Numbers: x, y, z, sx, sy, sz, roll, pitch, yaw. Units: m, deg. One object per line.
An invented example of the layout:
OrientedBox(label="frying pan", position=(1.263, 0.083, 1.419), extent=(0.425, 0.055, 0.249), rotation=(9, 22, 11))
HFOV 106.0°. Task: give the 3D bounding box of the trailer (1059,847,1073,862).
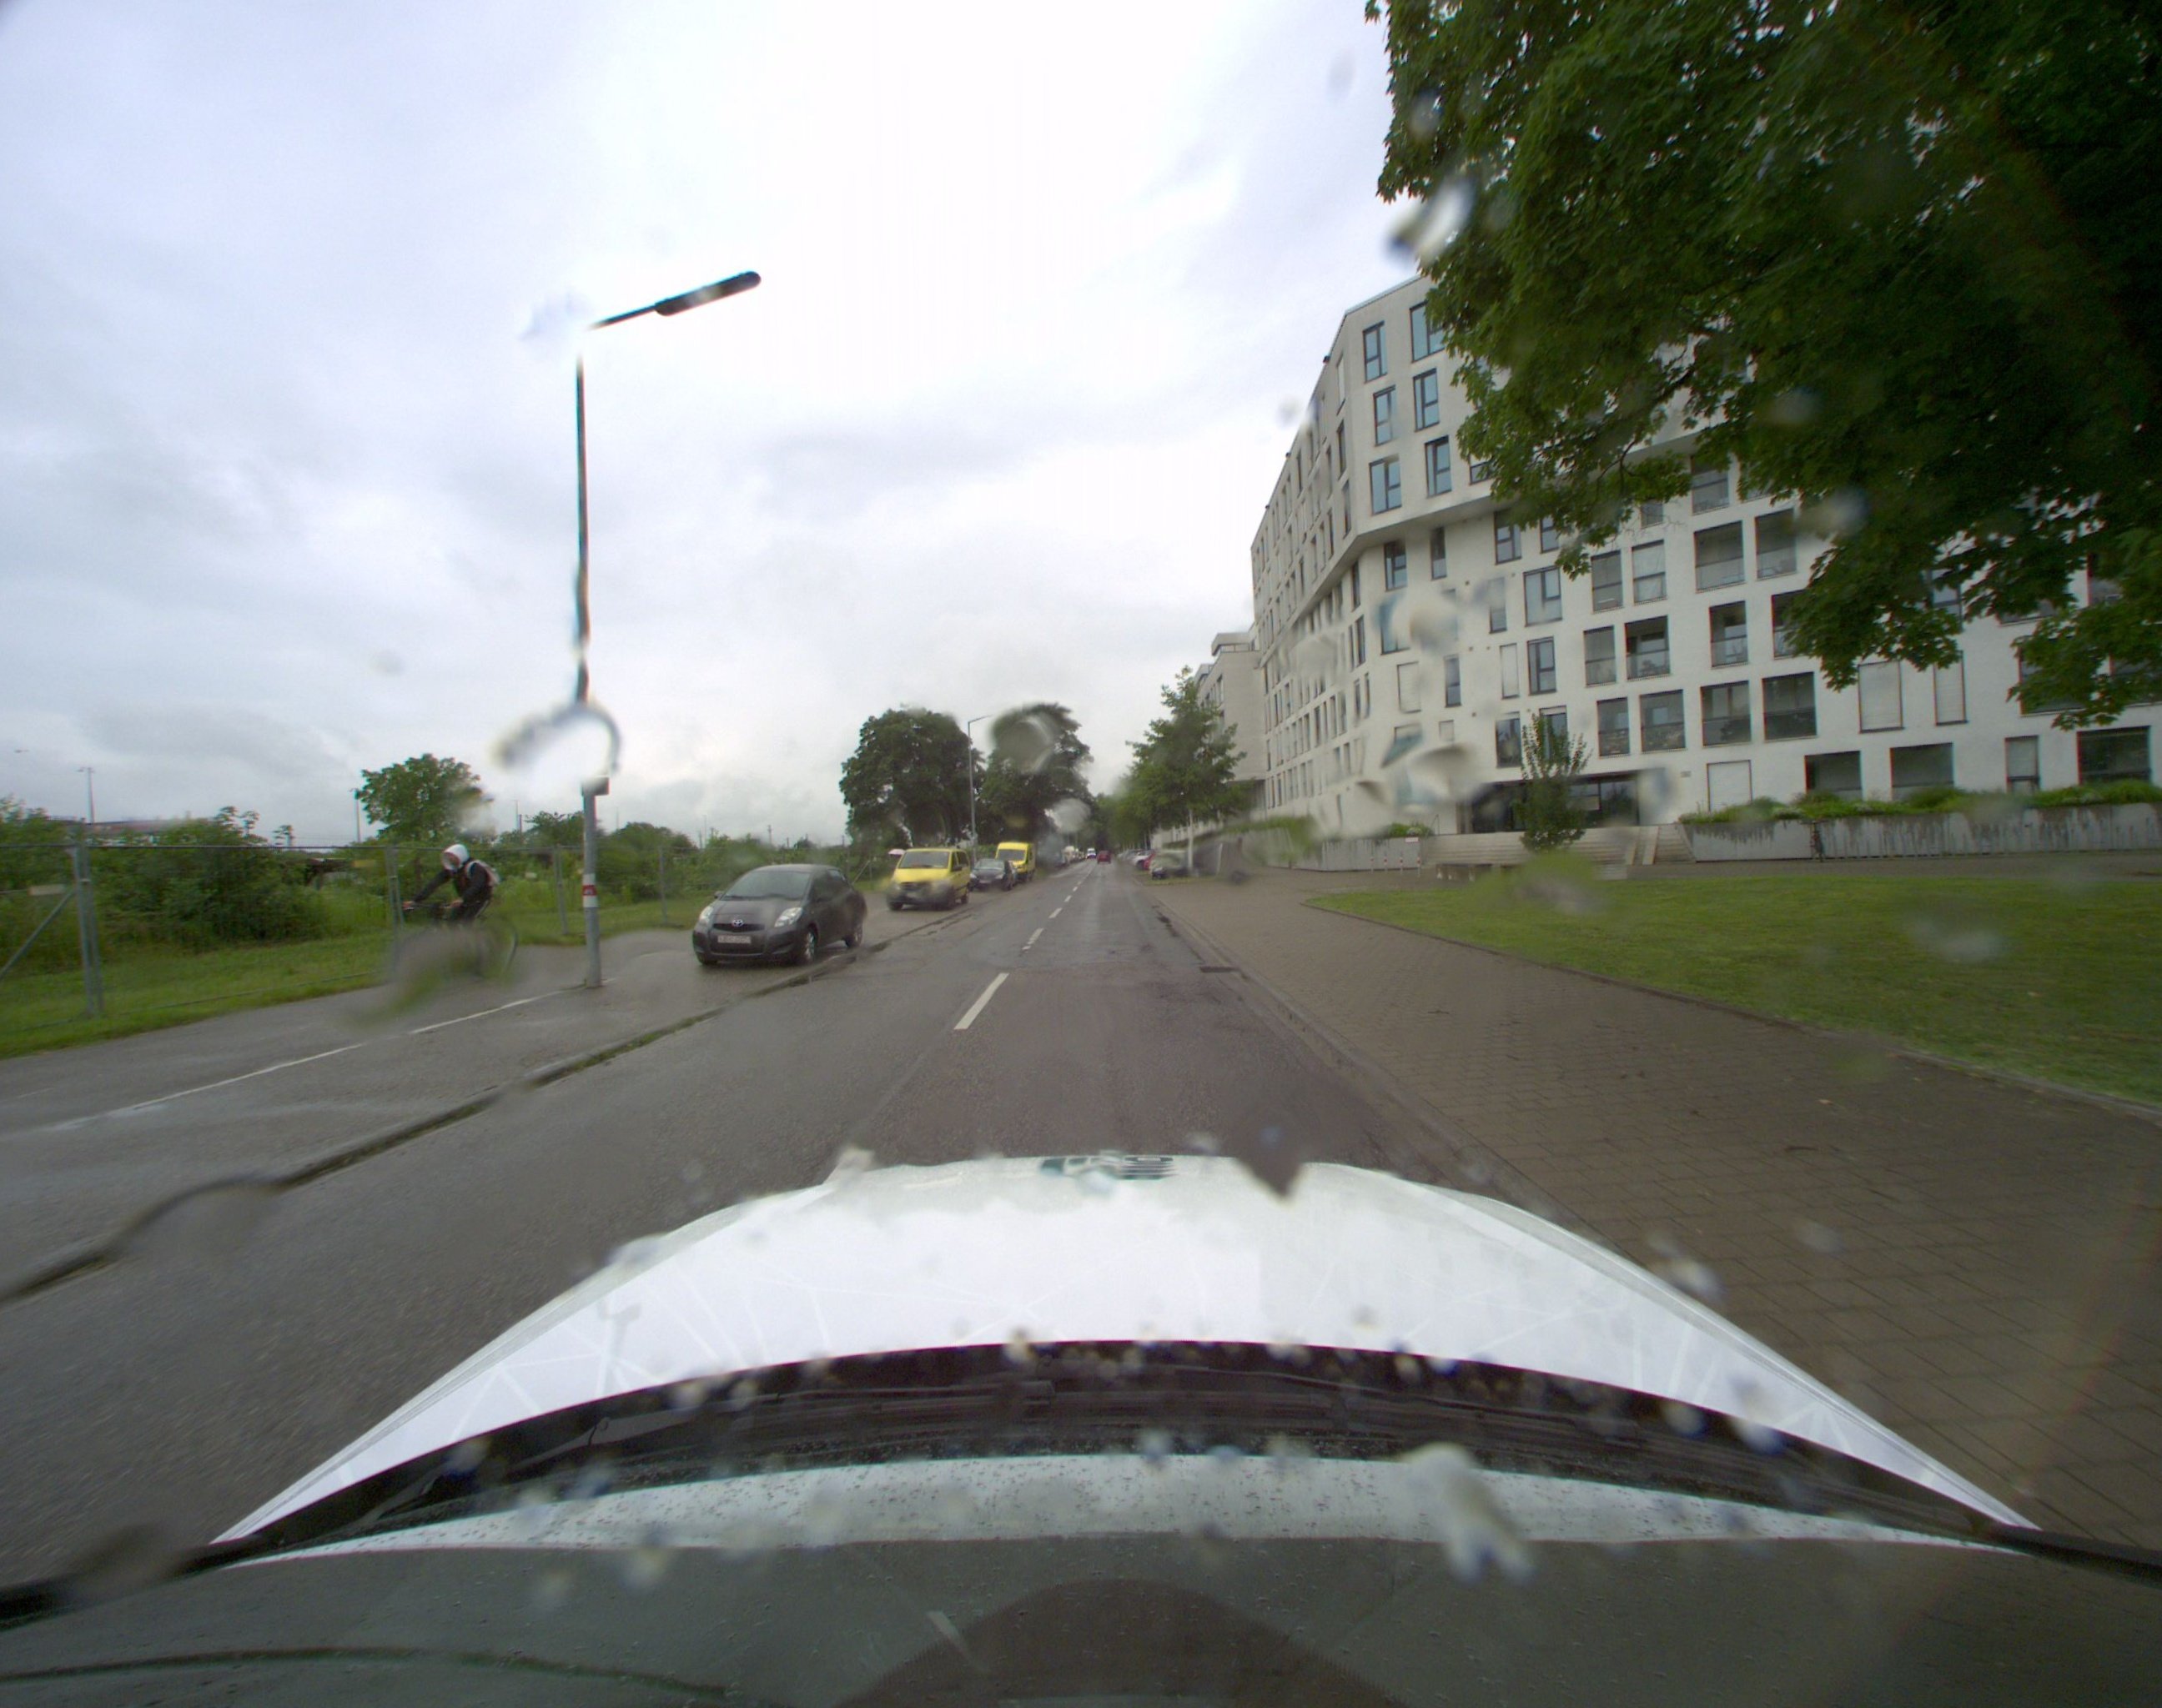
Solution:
OrientedBox(label="trailer", position=(-2.234, 0.012, 125.020), extent=(2.052, 2.218, 5.794), rotation=(-1, 0, 0))

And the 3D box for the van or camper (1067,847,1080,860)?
OrientedBox(label="van or camper", position=(-1.344, -0.068, 151.662), extent=(2.181, 2.461, 6.380), rotation=(-1, 0, 2))

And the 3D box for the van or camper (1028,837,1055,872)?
OrientedBox(label="van or camper", position=(-3.589, 0.047, 74.797), extent=(2.087, 3.094, 6.424), rotation=(0, -1, 1))

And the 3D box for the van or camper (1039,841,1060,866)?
OrientedBox(label="van or camper", position=(-3.441, -0.026, 90.384), extent=(2.088, 2.715, 7.572), rotation=(0, -1, 0))

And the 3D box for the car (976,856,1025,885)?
OrientedBox(label="car", position=(-4.265, 0.850, 44.010), extent=(2.003, 1.434, 5.340), rotation=(1, 0, 1))

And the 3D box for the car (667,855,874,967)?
OrientedBox(label="car", position=(-4.950, 0.819, 13.650), extent=(1.797, 1.561, 4.035), rotation=(0, 0, 2))

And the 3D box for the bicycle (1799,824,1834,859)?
OrientedBox(label="bicycle", position=(22.652, -0.392, 25.114), extent=(0.716, 1.033, 2.086), rotation=(-3, 0, 41))

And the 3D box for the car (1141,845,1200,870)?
OrientedBox(label="car", position=(6.392, 0.268, 58.342), extent=(3.974, 1.451, 1.821), rotation=(-4, -1, 0))

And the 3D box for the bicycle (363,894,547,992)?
OrientedBox(label="bicycle", position=(-8.239, 1.120, 10.874), extent=(0.713, 1.042, 2.145), rotation=(-2, 0, 2))

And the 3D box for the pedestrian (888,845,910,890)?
OrientedBox(label="pedestrian", position=(-8.327, 0.613, 37.301), extent=(0.739, 2.013, 0.981), rotation=(-1, 0, 2))

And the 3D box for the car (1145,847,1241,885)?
OrientedBox(label="car", position=(5.638, 0.587, 41.284), extent=(4.555, 1.497, 1.825), rotation=(-5, 0, 0))

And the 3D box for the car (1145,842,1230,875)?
OrientedBox(label="car", position=(5.940, 0.255, 45.630), extent=(4.472, 1.481, 1.692), rotation=(-5, 0, 1))

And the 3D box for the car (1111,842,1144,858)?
OrientedBox(label="car", position=(6.614, -0.556, 116.123), extent=(4.607, 2.019, 1.856), rotation=(-2, 1, -3))

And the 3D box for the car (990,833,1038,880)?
OrientedBox(label="car", position=(-4.066, 0.154, 50.543), extent=(2.182, 2.694, 6.086), rotation=(0, 0, 3))

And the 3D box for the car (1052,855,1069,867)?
OrientedBox(label="car", position=(-2.563, 0.892, 102.452), extent=(1.767, 1.502, 4.830), rotation=(0, 0, 2))

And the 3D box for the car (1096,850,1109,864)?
OrientedBox(label="car", position=(2.932, 0.429, 111.676), extent=(1.750, 1.706, 4.001), rotation=(-2, -1, 1))

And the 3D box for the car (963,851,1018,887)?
OrientedBox(label="car", position=(-4.216, 0.695, 38.674), extent=(1.987, 1.594, 5.017), rotation=(0, 0, 1))

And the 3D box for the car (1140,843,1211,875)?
OrientedBox(label="car", position=(5.543, 0.298, 48.253), extent=(3.972, 1.555, 1.635), rotation=(-5, 0, 1))

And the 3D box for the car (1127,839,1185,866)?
OrientedBox(label="car", position=(6.267, -0.109, 68.532), extent=(4.527, 1.685, 1.885), rotation=(-7, 0, -2))

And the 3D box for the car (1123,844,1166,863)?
OrientedBox(label="car", position=(7.040, -0.086, 90.240), extent=(4.462, 1.686, 1.935), rotation=(-5, 0, -1))

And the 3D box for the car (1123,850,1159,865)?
OrientedBox(label="car", position=(7.009, 0.398, 95.048), extent=(3.973, 1.509, 1.684), rotation=(-4, 1, 1))

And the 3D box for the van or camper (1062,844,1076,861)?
OrientedBox(label="van or camper", position=(-2.080, -0.220, 139.139), extent=(1.986, 2.762, 7.901), rotation=(-1, 0, 2))

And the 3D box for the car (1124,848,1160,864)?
OrientedBox(label="car", position=(7.474, 0.234, 100.230), extent=(4.150, 1.624, 1.896), rotation=(-4, 0, -2))

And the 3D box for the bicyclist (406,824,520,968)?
OrientedBox(label="bicyclist", position=(-8.249, 0.531, 10.918), extent=(0.695, 1.829, 1.009), rotation=(-1, 0, 2))

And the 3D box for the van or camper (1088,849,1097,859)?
OrientedBox(label="van or camper", position=(2.940, -0.019, 203.846), extent=(1.986, 2.497, 7.182), rotation=(-3, 0, 2))

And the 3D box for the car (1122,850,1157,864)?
OrientedBox(label="car", position=(7.357, 0.342, 102.634), extent=(4.286, 1.428, 1.636), rotation=(-4, 0, -1))

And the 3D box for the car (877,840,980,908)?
OrientedBox(label="car", position=(-4.752, 0.588, 26.378), extent=(2.010, 1.956, 6.067), rotation=(0, 0, 1))
